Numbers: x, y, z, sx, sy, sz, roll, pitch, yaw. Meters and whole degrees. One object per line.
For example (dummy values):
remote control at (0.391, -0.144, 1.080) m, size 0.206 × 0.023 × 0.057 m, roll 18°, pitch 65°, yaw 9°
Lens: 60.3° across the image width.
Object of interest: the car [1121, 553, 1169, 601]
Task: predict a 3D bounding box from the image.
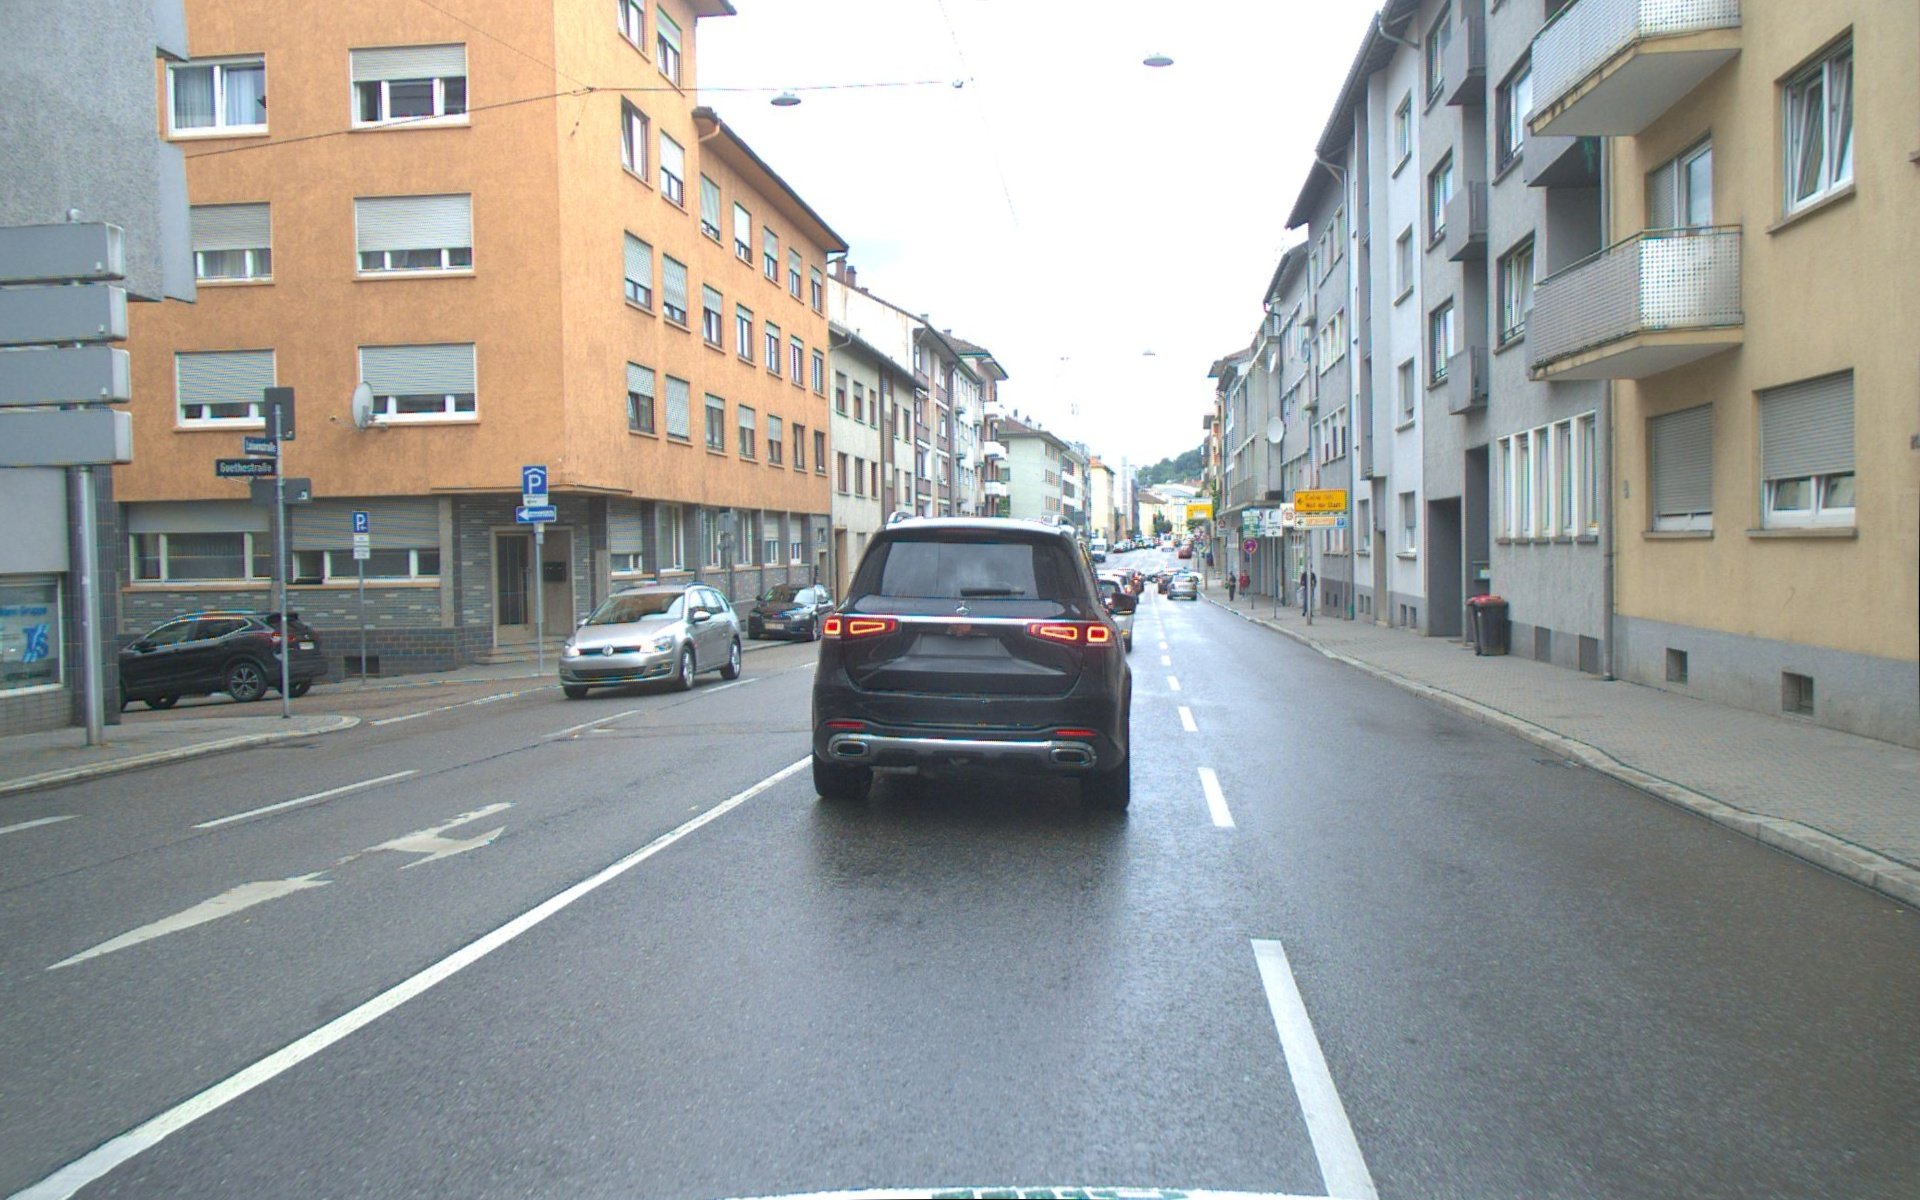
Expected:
car at (8.279, -1.050, 73.684) m, size 1.951 × 2.048 × 4.004 m, roll 0°, pitch 1°, yaw 8°

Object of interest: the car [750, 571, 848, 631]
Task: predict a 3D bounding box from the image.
car at (-4.281, -0.012, 44.543) m, size 1.851 × 1.484 × 4.552 m, roll 0°, pitch 2°, yaw 5°

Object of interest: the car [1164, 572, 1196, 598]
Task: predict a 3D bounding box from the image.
car at (13.131, -0.916, 99.069) m, size 1.698 × 1.412 × 4.586 m, roll 0°, pitch 2°, yaw 5°

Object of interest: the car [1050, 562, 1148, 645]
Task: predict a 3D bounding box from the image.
car at (2.817, 0.020, 34.009) m, size 1.853 × 1.536 × 4.176 m, roll 1°, pitch 2°, yaw 4°

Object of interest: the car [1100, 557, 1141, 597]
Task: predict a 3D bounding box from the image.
car at (8.518, -1.239, 87.398) m, size 1.951 × 2.048 × 4.004 m, roll 0°, pitch 1°, yaw 8°

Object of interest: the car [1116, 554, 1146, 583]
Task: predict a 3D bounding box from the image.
car at (12.333, -2.285, 119.327) m, size 1.951 × 2.048 × 4.004 m, roll 0°, pitch 1°, yaw 8°

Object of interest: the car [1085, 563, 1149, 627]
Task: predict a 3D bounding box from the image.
car at (5.378, -0.215, 56.388) m, size 1.951 × 2.048 × 4.004 m, roll 0°, pitch 1°, yaw 8°

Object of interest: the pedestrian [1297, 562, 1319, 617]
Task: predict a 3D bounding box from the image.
pedestrian at (11.640, -0.358, 55.354) m, size 0.641 × 1.782 × 0.742 m, roll -3°, pitch 1°, yaw 11°

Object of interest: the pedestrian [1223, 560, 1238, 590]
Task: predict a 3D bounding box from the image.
pedestrian at (14.346, -1.345, 87.735) m, size 0.803 × 1.592 × 0.900 m, roll 0°, pitch 1°, yaw 9°

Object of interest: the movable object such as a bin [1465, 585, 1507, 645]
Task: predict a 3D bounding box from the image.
movable object such as a bin at (8.962, 0.252, 28.191) m, size 0.550 × 0.979 × 0.475 m, roll -4°, pitch 1°, yaw 9°

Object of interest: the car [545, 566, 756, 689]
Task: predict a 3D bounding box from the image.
car at (-4.345, 0.321, 23.931) m, size 1.788 × 1.441 × 4.298 m, roll -4°, pitch 1°, yaw 5°

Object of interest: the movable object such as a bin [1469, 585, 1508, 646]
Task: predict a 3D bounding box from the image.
movable object such as a bin at (8.835, 0.257, 27.659) m, size 0.463 × 0.979 × 0.565 m, roll -4°, pitch 1°, yaw 8°

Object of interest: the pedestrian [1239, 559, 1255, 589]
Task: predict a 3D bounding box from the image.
pedestrian at (15.179, -1.372, 87.594) m, size 0.803 × 1.592 × 0.900 m, roll 0°, pitch 1°, yaw 9°

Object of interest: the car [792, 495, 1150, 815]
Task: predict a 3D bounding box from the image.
car at (0.293, 0.234, 11.679) m, size 2.032 × 1.796 × 4.615 m, roll 0°, pitch 2°, yaw 6°

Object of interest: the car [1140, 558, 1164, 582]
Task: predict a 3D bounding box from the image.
car at (16.962, -2.684, 145.933) m, size 1.951 × 2.048 × 4.004 m, roll 0°, pitch 1°, yaw 8°

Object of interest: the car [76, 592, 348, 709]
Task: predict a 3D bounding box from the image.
car at (-13.421, 0.879, 29.801) m, size 3.903 × 1.680 × 1.932 m, roll -5°, pitch 1°, yaw 6°
